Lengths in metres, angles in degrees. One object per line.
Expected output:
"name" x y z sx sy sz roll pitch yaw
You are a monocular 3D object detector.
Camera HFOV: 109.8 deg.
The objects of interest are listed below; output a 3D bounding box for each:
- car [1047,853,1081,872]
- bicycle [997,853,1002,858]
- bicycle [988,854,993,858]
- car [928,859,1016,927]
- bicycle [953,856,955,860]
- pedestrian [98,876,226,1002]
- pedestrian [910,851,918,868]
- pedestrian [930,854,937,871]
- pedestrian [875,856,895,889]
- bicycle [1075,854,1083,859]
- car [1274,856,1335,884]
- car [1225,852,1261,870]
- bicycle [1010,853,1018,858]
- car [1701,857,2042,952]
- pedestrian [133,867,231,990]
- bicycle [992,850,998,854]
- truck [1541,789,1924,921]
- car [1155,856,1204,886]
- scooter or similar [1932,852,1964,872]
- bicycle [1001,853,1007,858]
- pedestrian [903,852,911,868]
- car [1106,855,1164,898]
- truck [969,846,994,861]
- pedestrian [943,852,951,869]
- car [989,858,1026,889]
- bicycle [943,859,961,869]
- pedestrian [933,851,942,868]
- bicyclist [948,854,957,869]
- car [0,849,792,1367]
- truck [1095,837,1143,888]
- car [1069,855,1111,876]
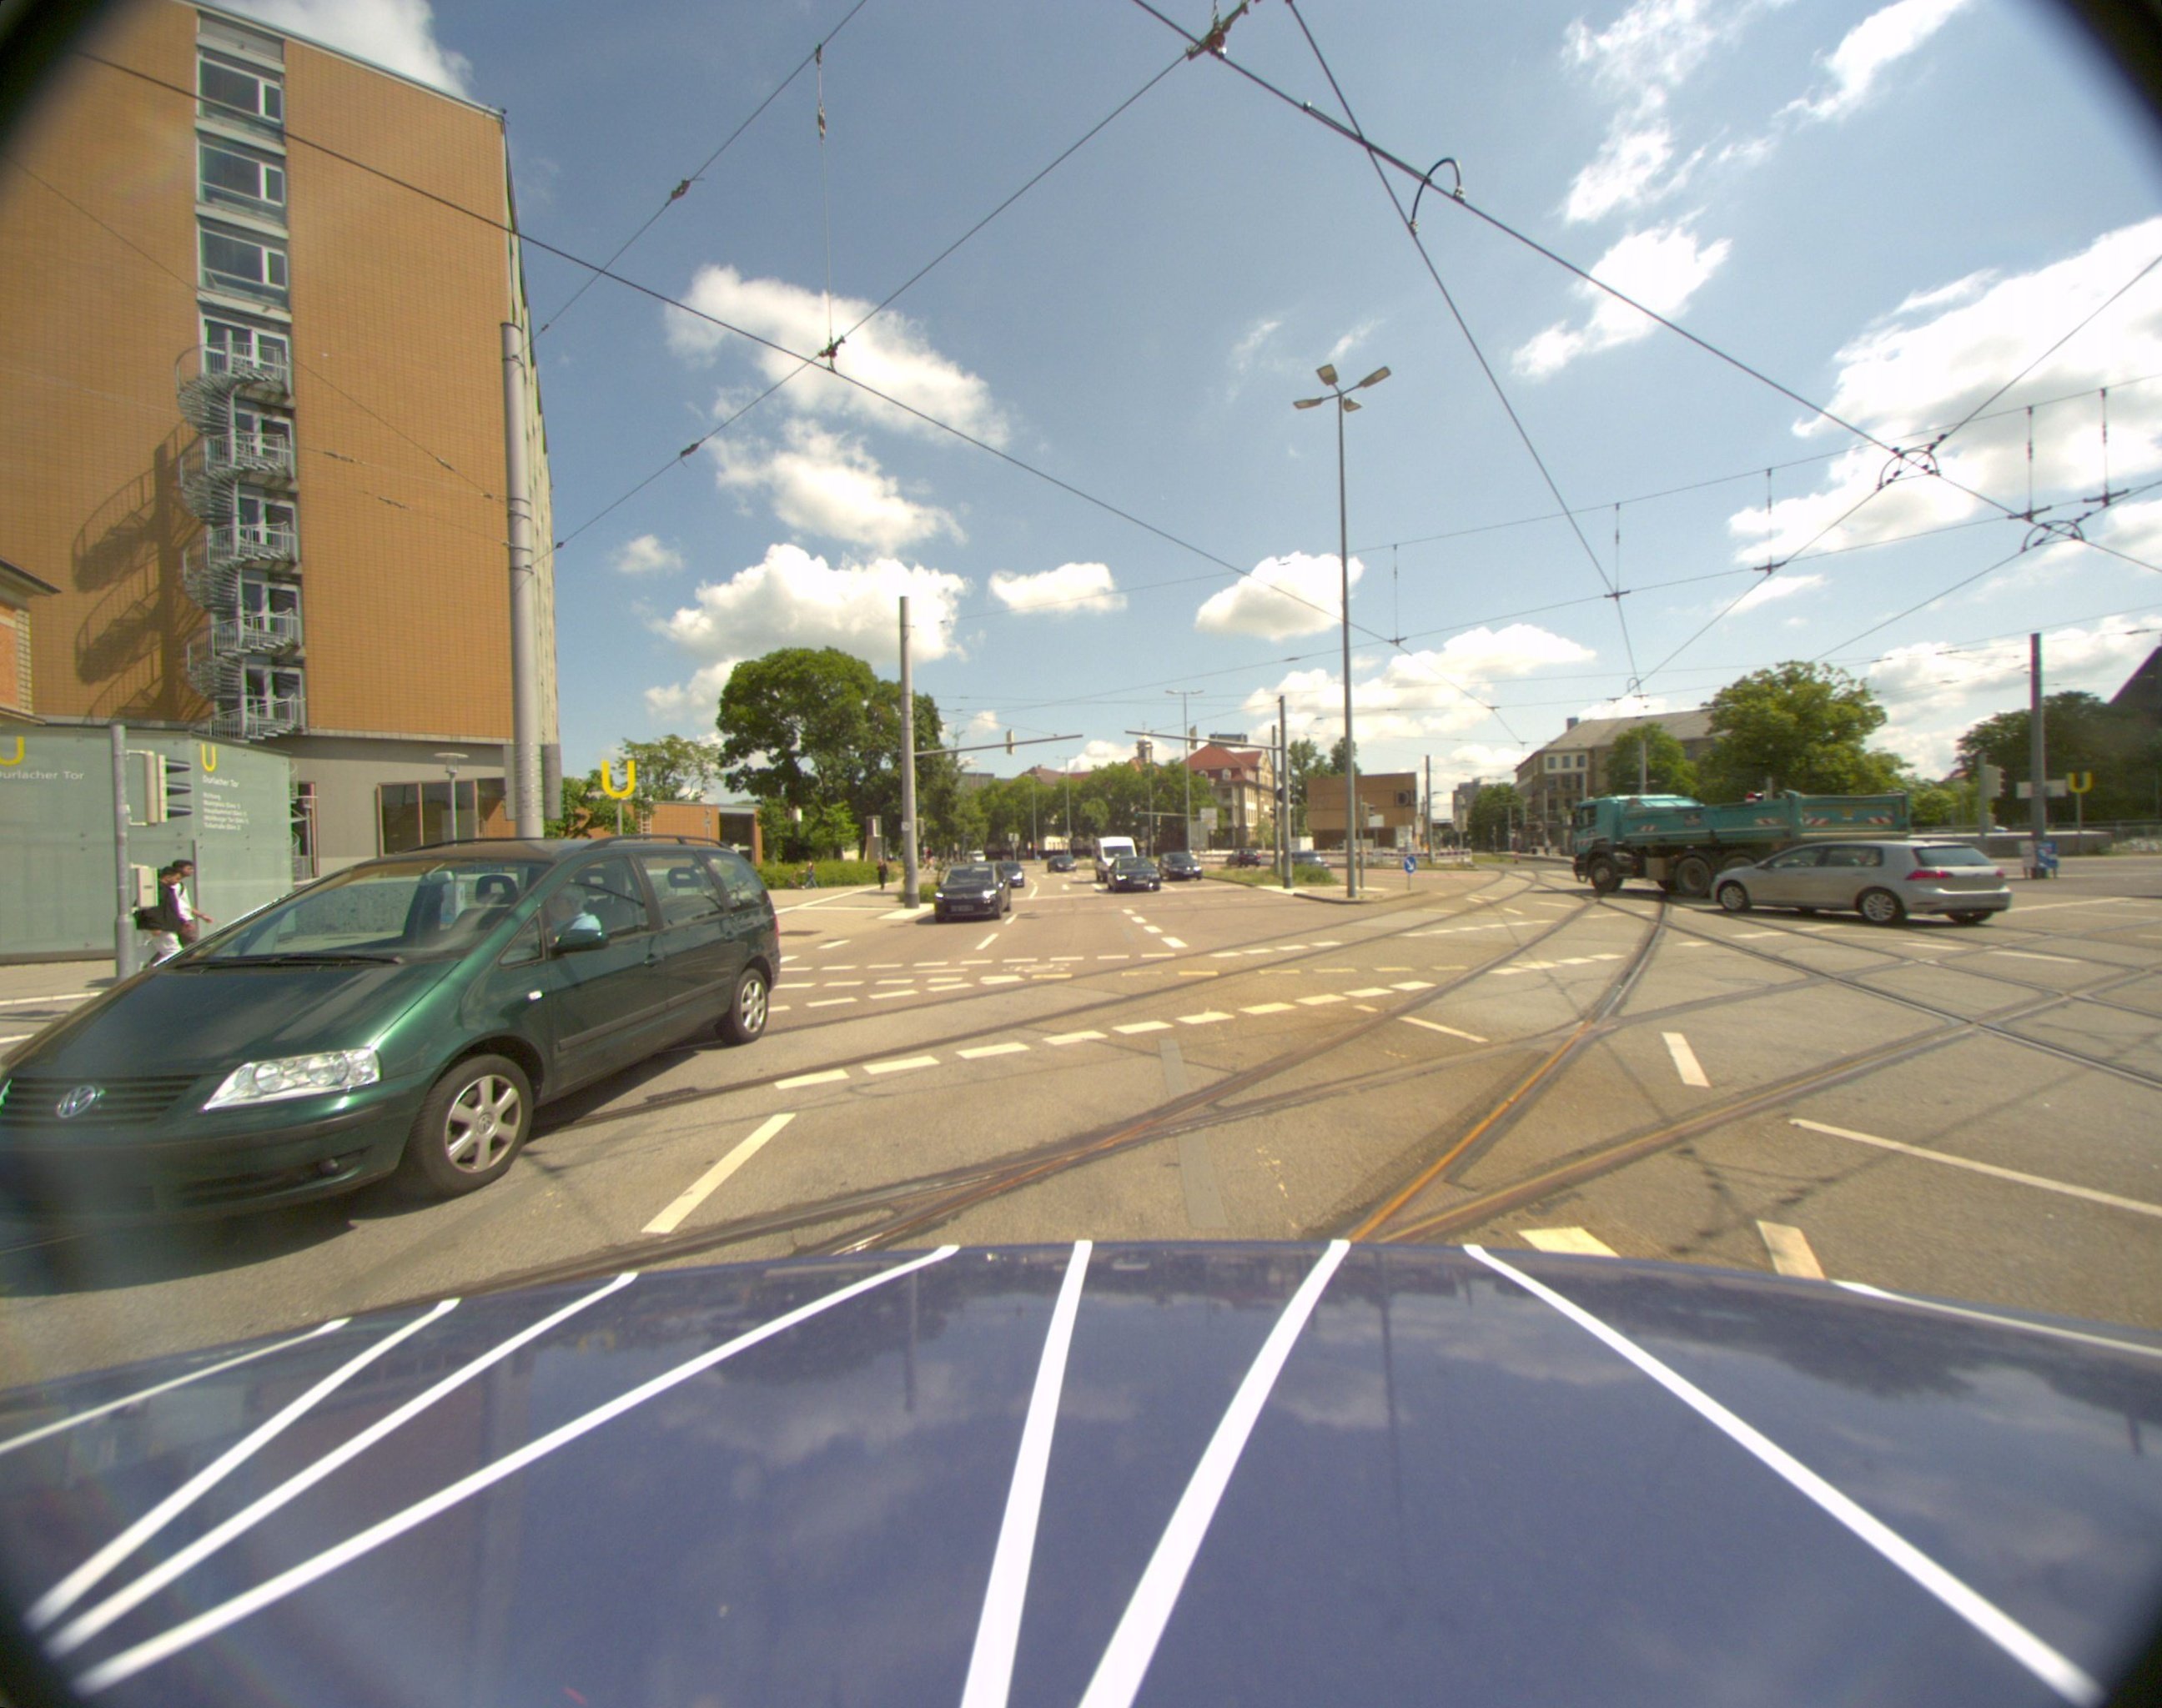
"car" -1.578 0.728 67.673 1.754 1.496 4.513 -4 1 -18
"bicycle" -18.541 0.292 172.568 0.399 1.037 1.579 -2 1 -42
"bicycle" -20.796 0.450 175.068 0.378 1.037 1.413 -2 1 -42
"car" -3.100 1.059 22.491 1.863 1.613 4.519 -3 1 0
"bicycle" -31.514 0.941 187.973 0.382 1.101 1.669 -2 0 -7
"pedestrian" -13.115 1.169 10.891 0.969 1.648 0.861 0 2 -37
"pedestrian" -18.255 0.623 83.052 0.753 1.792 0.608 0 0 -21
"pedestrian" -14.589 0.807 75.166 0.589 1.617 0.726 -3 2 -19
"pedestrian" -9.666 0.908 37.555 0.758 1.581 0.761 -2 2 -4
"bicycle" -0.328 0.490 155.810 1.682 1.024 0.399 -1 1 35
"car" 12.149 0.819 41.610 1.658 1.383 4.773 -1 0 -3
"car" 13.552 0.579 63.714 1.658 1.460 4.151 -1 0 -7
"bicycle" -14.865 0.249 168.557 0.399 1.037 1.952 -2 1 -45
"car" 14.097 0.795 13.988 1.658 1.425 4.269 -1 0 -4
"pedestrian" -13.638 1.091 11.563 0.759 1.742 0.861 0 2 -37
"bicycle" -19.700 -0.481 173.825 0.399 1.037 1.757 -2 1 -42
"truck" 17.000 0.004 21.105 2.893 2.835 8.790 -1 0 -2
"car" 5.153 0.860 40.130 1.752 1.426 4.519 -3 0 -2
"scooter or similar" 47.613 0.444 41.729 1.127 1.084 0.243 -1 2 34
"bicycle" -17.386 0.280 171.284 0.399 0.998 1.757 -2 1 -42
"pedestrian" -18.876 0.627 82.483 0.753 1.742 0.608 0 0 -21
"car" 2.218 0.896 32.562 1.933 1.632 4.791 -2 0 -2
"truck" -15.867 -0.058 121.271 2.466 2.288 5.805 -4 1 -22
"pedestrian" -13.400 0.649 76.139 0.652 1.616 0.774 1 1 -4
"car" -3.954 1.018 41.537 1.766 1.409 4.361 -3 1 -4
"bicycle" -13.914 1.045 82.091 1.817 1.044 0.590 1 1 -21
"pedestrian" -15.113 0.588 79.956 0.759 1.810 0.778 2 0 -26
"bicyclist" -13.891 0.762 82.090 0.831 1.592 0.578 1 1 -21
"car" -3.684 0.876 4.823 1.798 1.713 4.448 -2 1 2
"truck" 2.064 0.398 43.225 2.143 2.625 5.915 -2 1 -2
"car" 0.684 0.925 61.439 1.754 1.496 4.512 -4 1 -21
